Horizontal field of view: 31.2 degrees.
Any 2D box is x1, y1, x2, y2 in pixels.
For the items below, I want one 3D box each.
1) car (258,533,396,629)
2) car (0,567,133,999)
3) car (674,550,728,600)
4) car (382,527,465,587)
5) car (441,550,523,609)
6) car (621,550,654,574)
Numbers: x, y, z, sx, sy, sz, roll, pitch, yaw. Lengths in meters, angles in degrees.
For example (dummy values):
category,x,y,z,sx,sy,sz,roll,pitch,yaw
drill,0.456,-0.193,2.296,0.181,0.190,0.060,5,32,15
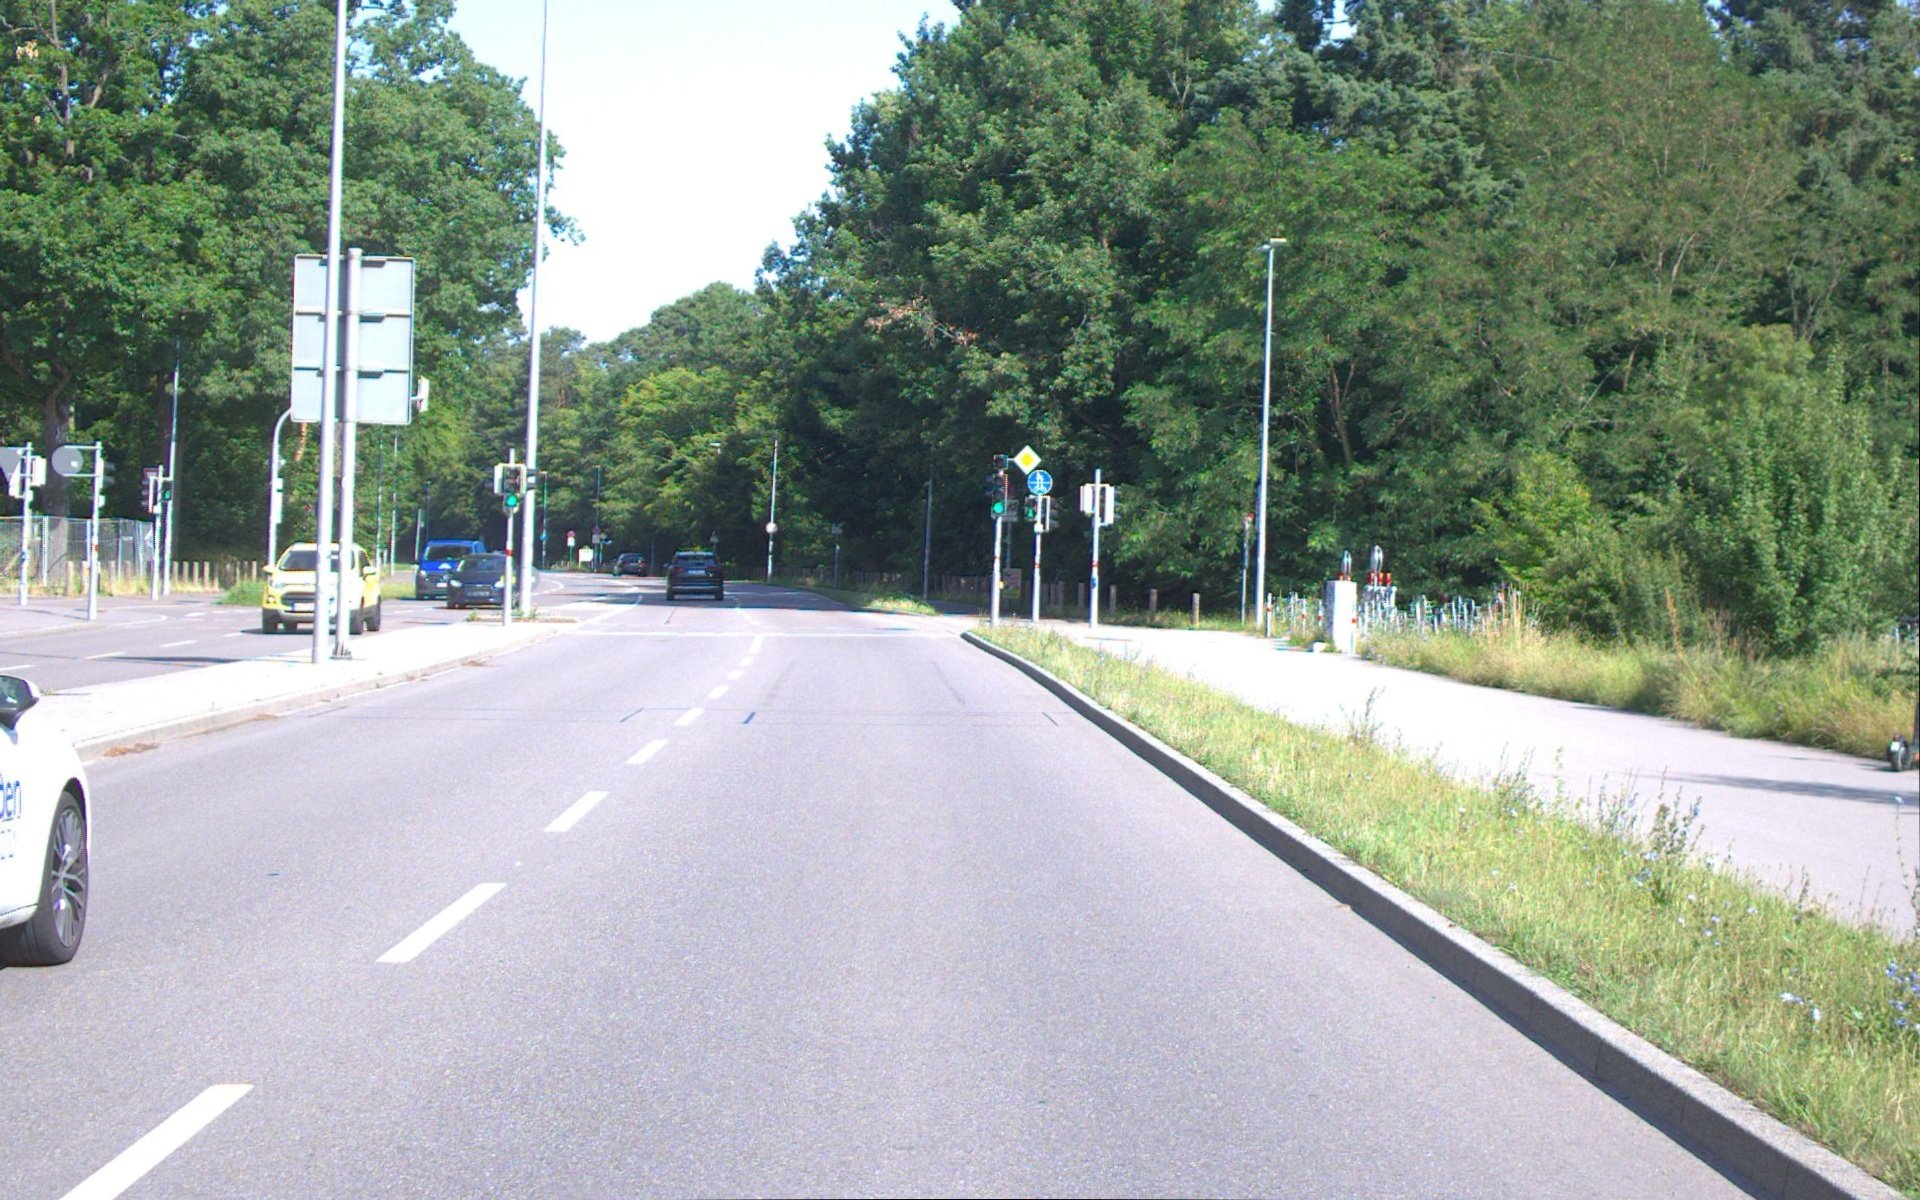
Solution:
category,x,y,z,sx,sy,sz,roll,pitch,yaw
car,-11.471,-0.372,62.552,1.846,1.612,4.000,2,1,-2
car,-4.063,0.623,10.938,1.725,1.422,4.720,1,1,0
car,-8.417,-0.829,111.609,1.687,1.539,4.149,1,1,-4
car,-16.846,-1.353,108.102,1.929,1.766,4.000,2,1,0
car,-12.761,-0.566,91.978,1.819,1.459,4.001,2,1,-3
car,-20.083,-2.371,213.869,1.940,1.415,4.294,2,1,-6
